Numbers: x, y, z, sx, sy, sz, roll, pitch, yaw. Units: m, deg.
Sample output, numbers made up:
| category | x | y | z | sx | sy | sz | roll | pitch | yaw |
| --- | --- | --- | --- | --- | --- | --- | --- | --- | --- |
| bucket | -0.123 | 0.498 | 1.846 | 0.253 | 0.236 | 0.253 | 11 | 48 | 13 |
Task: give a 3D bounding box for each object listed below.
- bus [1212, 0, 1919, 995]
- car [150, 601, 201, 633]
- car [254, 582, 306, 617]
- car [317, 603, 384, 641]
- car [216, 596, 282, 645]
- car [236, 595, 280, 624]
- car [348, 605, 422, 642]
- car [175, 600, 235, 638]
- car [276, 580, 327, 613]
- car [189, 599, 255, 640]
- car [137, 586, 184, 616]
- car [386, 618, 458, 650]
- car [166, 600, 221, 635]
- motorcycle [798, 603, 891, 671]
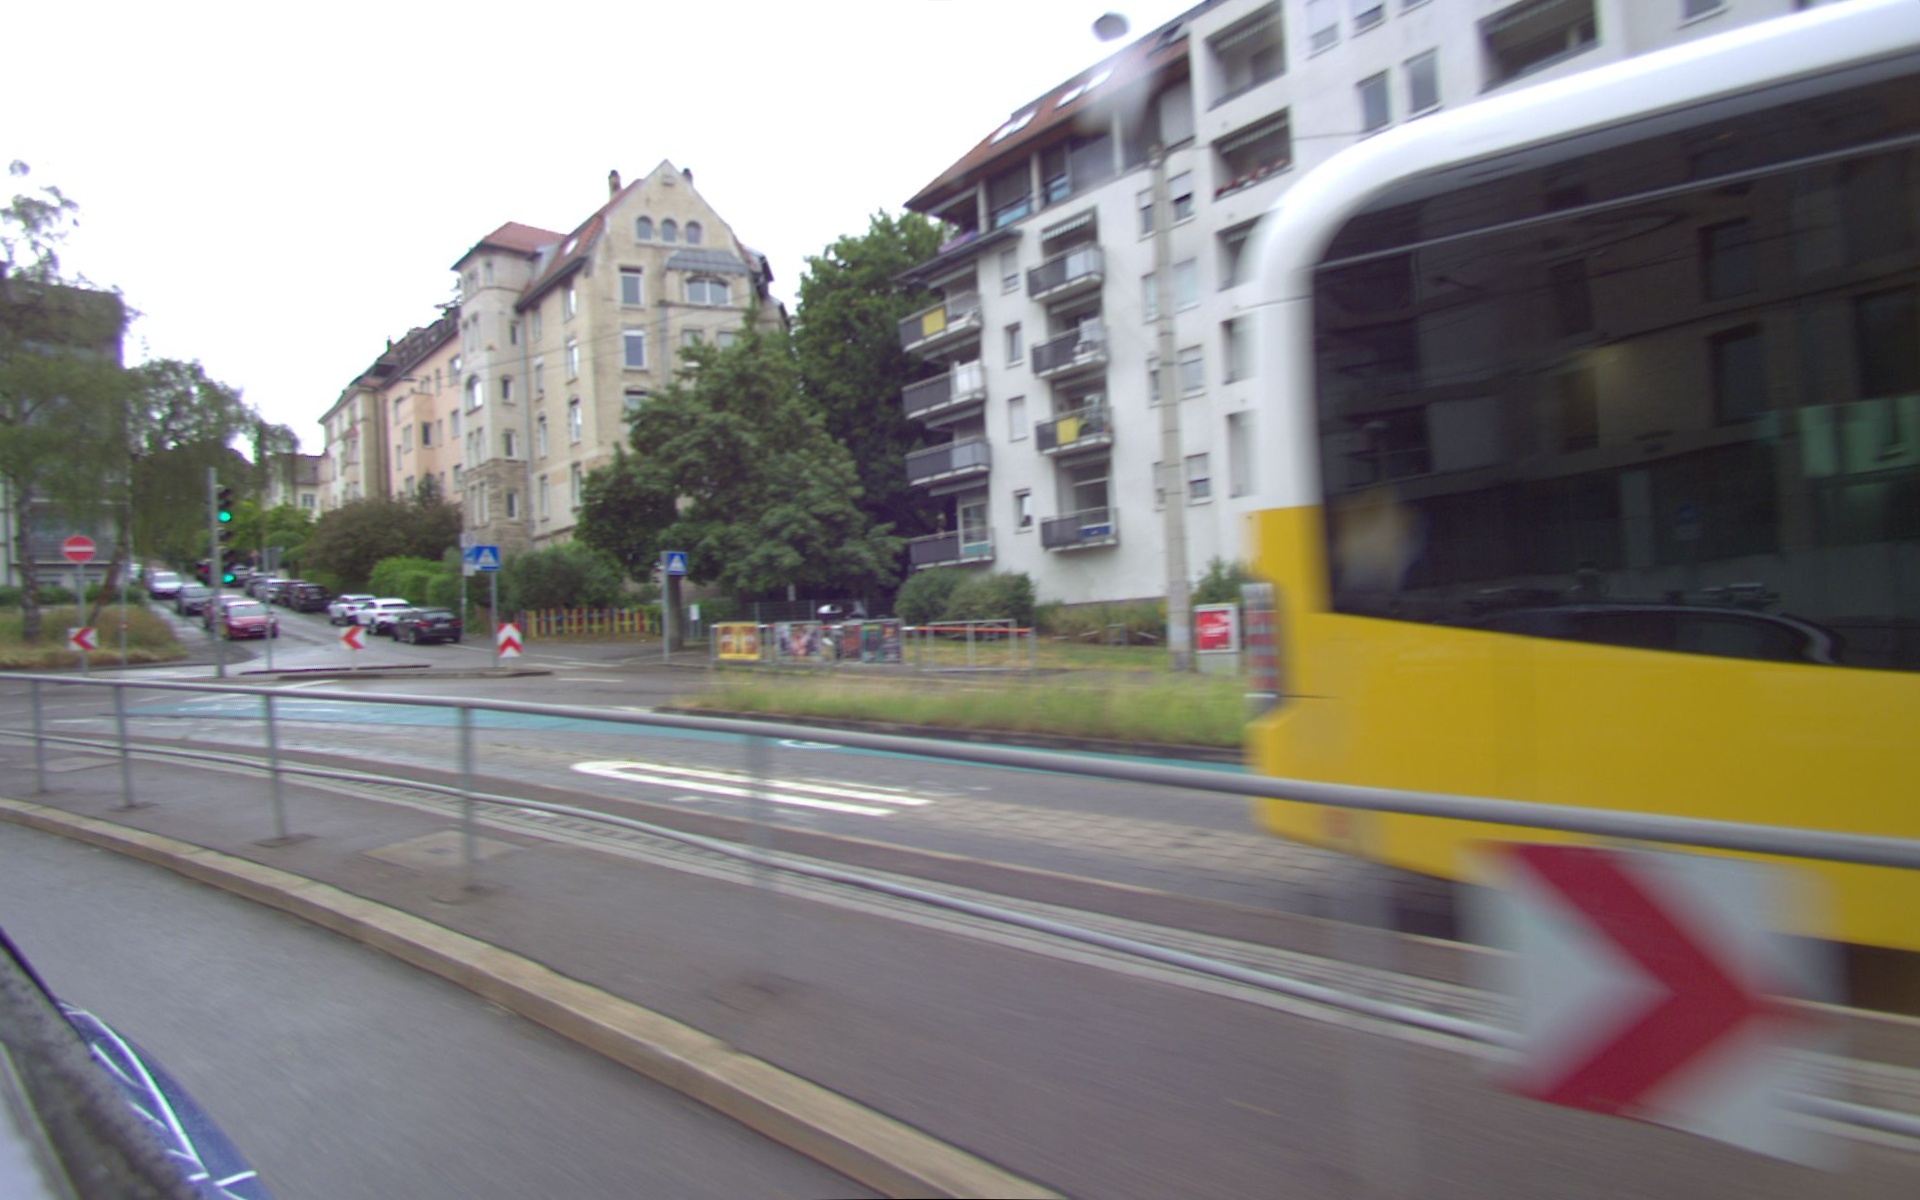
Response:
| category | x | y | z | sx | sy | sz | roll | pitch | yaw |
| --- | --- | --- | --- | --- | --- | --- | --- | --- | --- |
| bus | 5.446 | -0.592 | 2.580 | 9.095 | 3.495 | 2.565 | -1 | -1 | 38 |
| car | -46.938 | 1.008 | 60.511 | 4.285 | 1.849 | 1.780 | -1 | -1 | 44 |
| car | -40.922 | 0.015 | 60.891 | 1.970 | 2.029 | 4.003 | 1 | -1 | -44 |
| car | -30.648 | 1.126 | 50.841 | 4.285 | 1.849 | 1.780 | -2 | -3 | 44 |
| car | -31.031 | 0.904 | 44.113 | 1.969 | 2.029 | 4.006 | 1 | -2 | -41 |
| car | -45.479 | 0.633 | 65.522 | 3.667 | 1.849 | 1.657 | -1 | -1 | 44 |
| car | -26.642 | 1.073 | 46.838 | 1.970 | 1.605 | 4.360 | 1 | -1 | -44 |
| car | -38.706 | 0.970 | 51.837 | 4.285 | 1.849 | 1.780 | -1 | -1 | 44 |
| car | -37.996 | -0.184 | 58.355 | 3.667 | 1.849 | 1.657 | -1 | -1 | 44 |
| car | -34.798 | 0.891 | 47.701 | 4.285 | 1.849 | 1.780 | -1 | -1 | 44 |
| car | -51.317 | 0.091 | 64.901 | 4.285 | 1.849 | 1.780 | -1 | -1 | 44 |
| car | -22.081 | 1.372 | 41.460 | 1.726 | 1.232 | 4.363 | 1 | -1 | -40 |
| car | -42.074 | 0.973 | 55.510 | 4.285 | 1.849 | 1.780 | -1 | -1 | 44 |
| motorcycle | -2.821 | 0.870 | 24.583 | 2.438 | 1.562 | 0.690 | -1 | 2 | 39 |
